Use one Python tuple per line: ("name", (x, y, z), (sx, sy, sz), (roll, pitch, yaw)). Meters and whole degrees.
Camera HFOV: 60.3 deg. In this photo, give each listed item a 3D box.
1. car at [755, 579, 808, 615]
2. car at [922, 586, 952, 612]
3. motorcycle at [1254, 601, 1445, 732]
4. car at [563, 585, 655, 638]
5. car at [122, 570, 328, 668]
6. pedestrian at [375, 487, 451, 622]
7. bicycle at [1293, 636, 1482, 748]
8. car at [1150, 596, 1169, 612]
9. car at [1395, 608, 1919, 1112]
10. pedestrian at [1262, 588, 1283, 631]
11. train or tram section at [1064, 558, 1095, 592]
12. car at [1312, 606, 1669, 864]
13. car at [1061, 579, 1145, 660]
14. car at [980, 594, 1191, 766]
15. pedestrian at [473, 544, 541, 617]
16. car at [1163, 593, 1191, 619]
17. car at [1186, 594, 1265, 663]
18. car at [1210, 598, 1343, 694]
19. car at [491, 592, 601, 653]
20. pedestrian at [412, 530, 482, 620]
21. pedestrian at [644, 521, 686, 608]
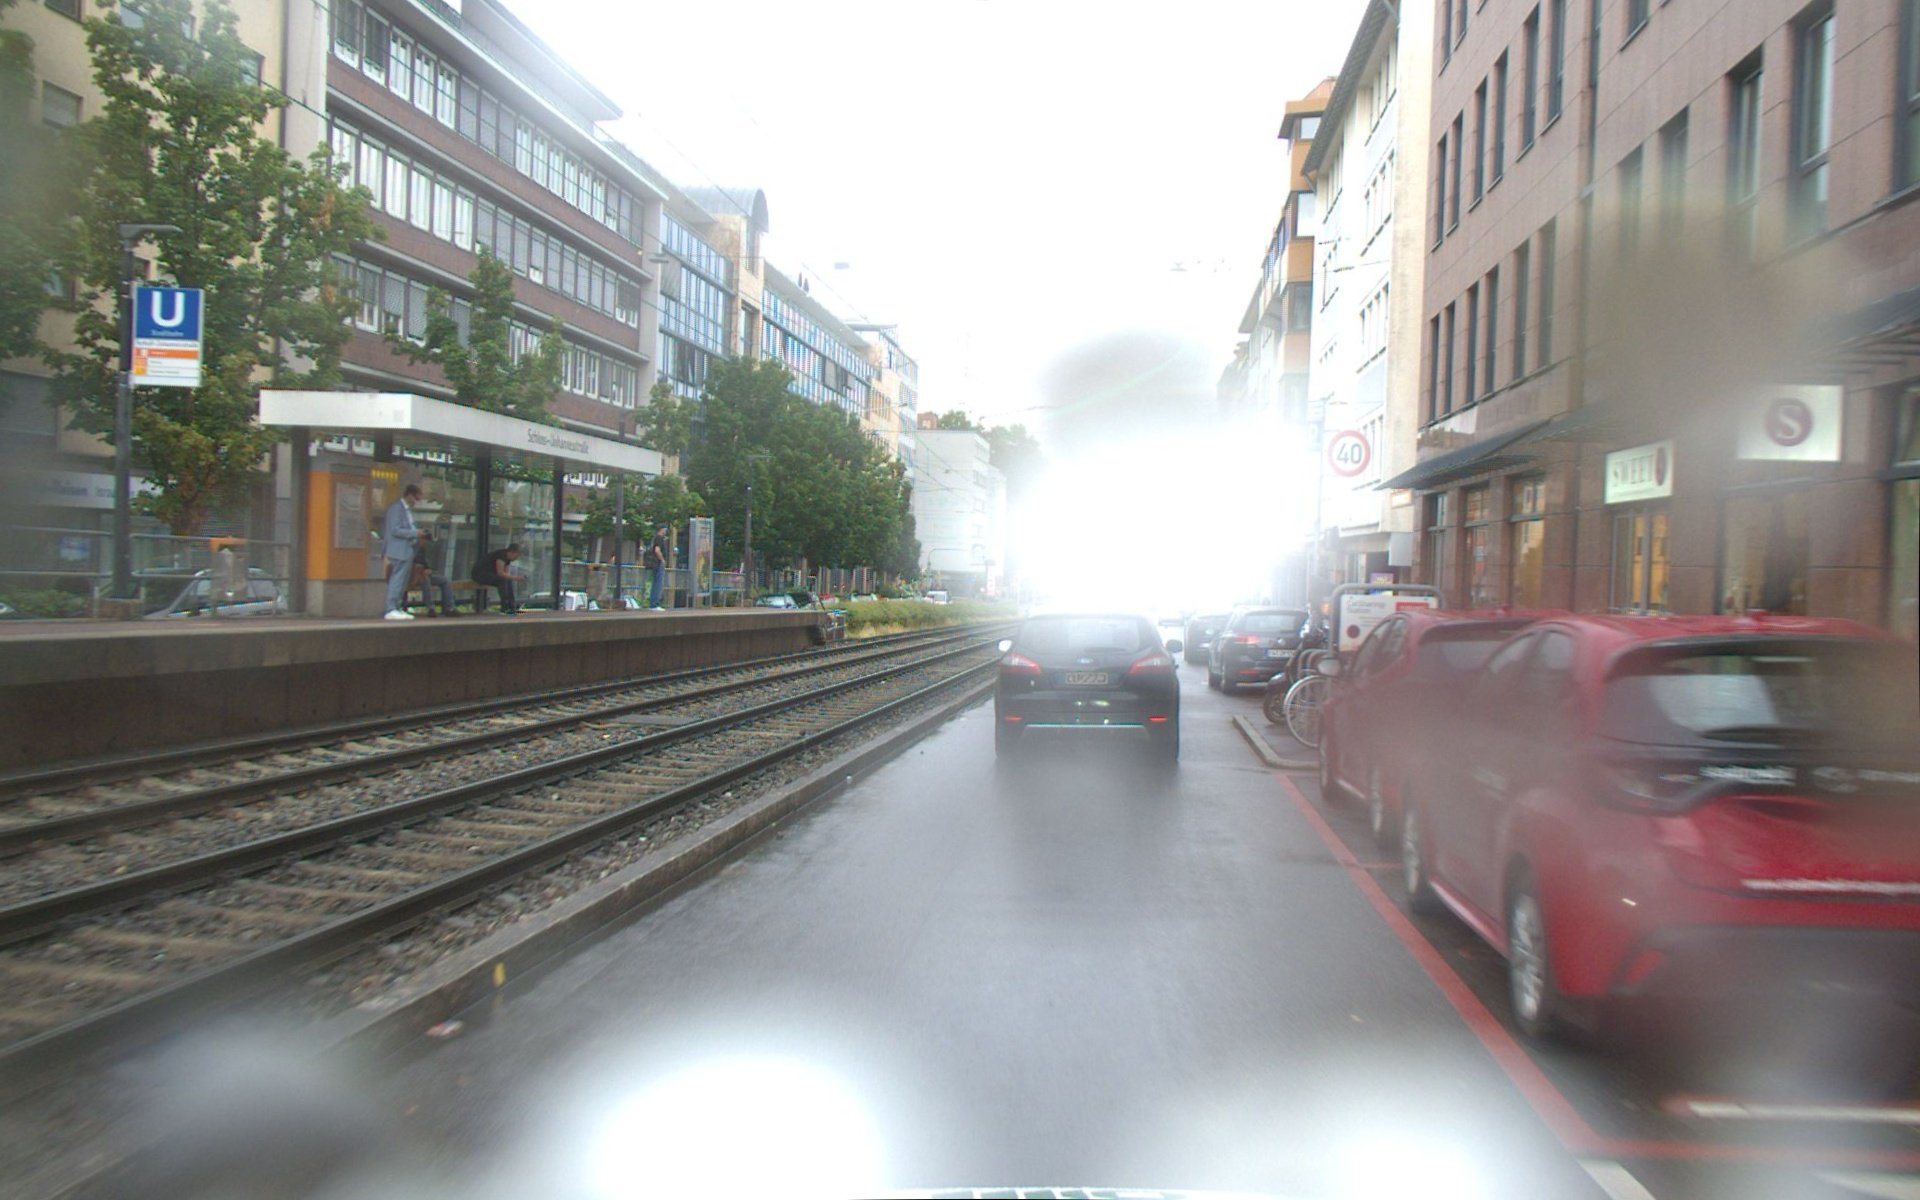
("car", (-7.557, -0.145, 70.318), (1.535, 1.461, 4.180), (1, 1, 3))
("car", (-1.744, -0.044, 126.354), (1.867, 1.897, 4.576), (2, 0, 3))
("motorcycle", (4.540, 0.750, 19.306), (2.042, 1.432, 0.798), (1, 0, 25))
("car", (-10.193, 0.296, 48.285), (1.535, 1.461, 4.180), (1, 1, 3))
("car", (-12.005, 0.275, 27.274), (1.535, 1.461, 3.738), (1, 1, 3))
("pedestrian", (-7.244, -0.602, 21.927), (0.642, 1.741, 0.850), (1, 0, 4))
("bicycle", (4.232, 0.905, 16.432), (1.749, 1.049, 0.462), (1, 0, 5))
("car", (21.381, 0.396, 177.121), (1.866, 1.662, 4.577), (2, 0, 7))
("car", (2.936, 0.799, 6.955), (1.662, 1.505, 3.870), (-1, 0, 8))
("pedestrian", (12.306, 0.376, 65.166), (0.680, 1.680, 0.966), (1, 0, 5))
("train or tram section", (14.044, -2.917, 194.383), (3.439, 3.843, 11.337), (1, 1, 4))
("car", (3.506, 0.797, 11.616), (1.662, 1.488, 3.870), (-1, 0, 7))
("car", (3.668, 0.468, 41.804), (1.866, 1.897, 4.577), (2, 0, 7))
("car", (1.326, 0.721, 16.655), (1.866, 1.488, 3.447), (2, 0, 7))
("pedestrian", (-7.265, -0.312, 26.564), (0.874, 1.143, 0.849), (1, 0, -4))
("car", (15.074, 0.414, 114.921), (1.866, 1.662, 4.577), (2, 0, 7))
("car", (6.990, 0.693, 43.918), (1.769, 1.660, 5.173), (1, 1, 6))
("car", (5.480, 0.742, 29.172), (1.737, 1.494, 4.612), (1, 1, 4))
("car", (-10.632, 0.542, 42.743), (1.535, 1.461, 4.240), (1, 1, 3))
("pedestrian", (-7.458, -0.366, 24.064), (0.678, 1.271, 0.885), (1, 0, 4))
("pedestrian", (-6.302, -0.758, 35.342), (0.642, 1.833, 0.850), (1, 0, 4))
